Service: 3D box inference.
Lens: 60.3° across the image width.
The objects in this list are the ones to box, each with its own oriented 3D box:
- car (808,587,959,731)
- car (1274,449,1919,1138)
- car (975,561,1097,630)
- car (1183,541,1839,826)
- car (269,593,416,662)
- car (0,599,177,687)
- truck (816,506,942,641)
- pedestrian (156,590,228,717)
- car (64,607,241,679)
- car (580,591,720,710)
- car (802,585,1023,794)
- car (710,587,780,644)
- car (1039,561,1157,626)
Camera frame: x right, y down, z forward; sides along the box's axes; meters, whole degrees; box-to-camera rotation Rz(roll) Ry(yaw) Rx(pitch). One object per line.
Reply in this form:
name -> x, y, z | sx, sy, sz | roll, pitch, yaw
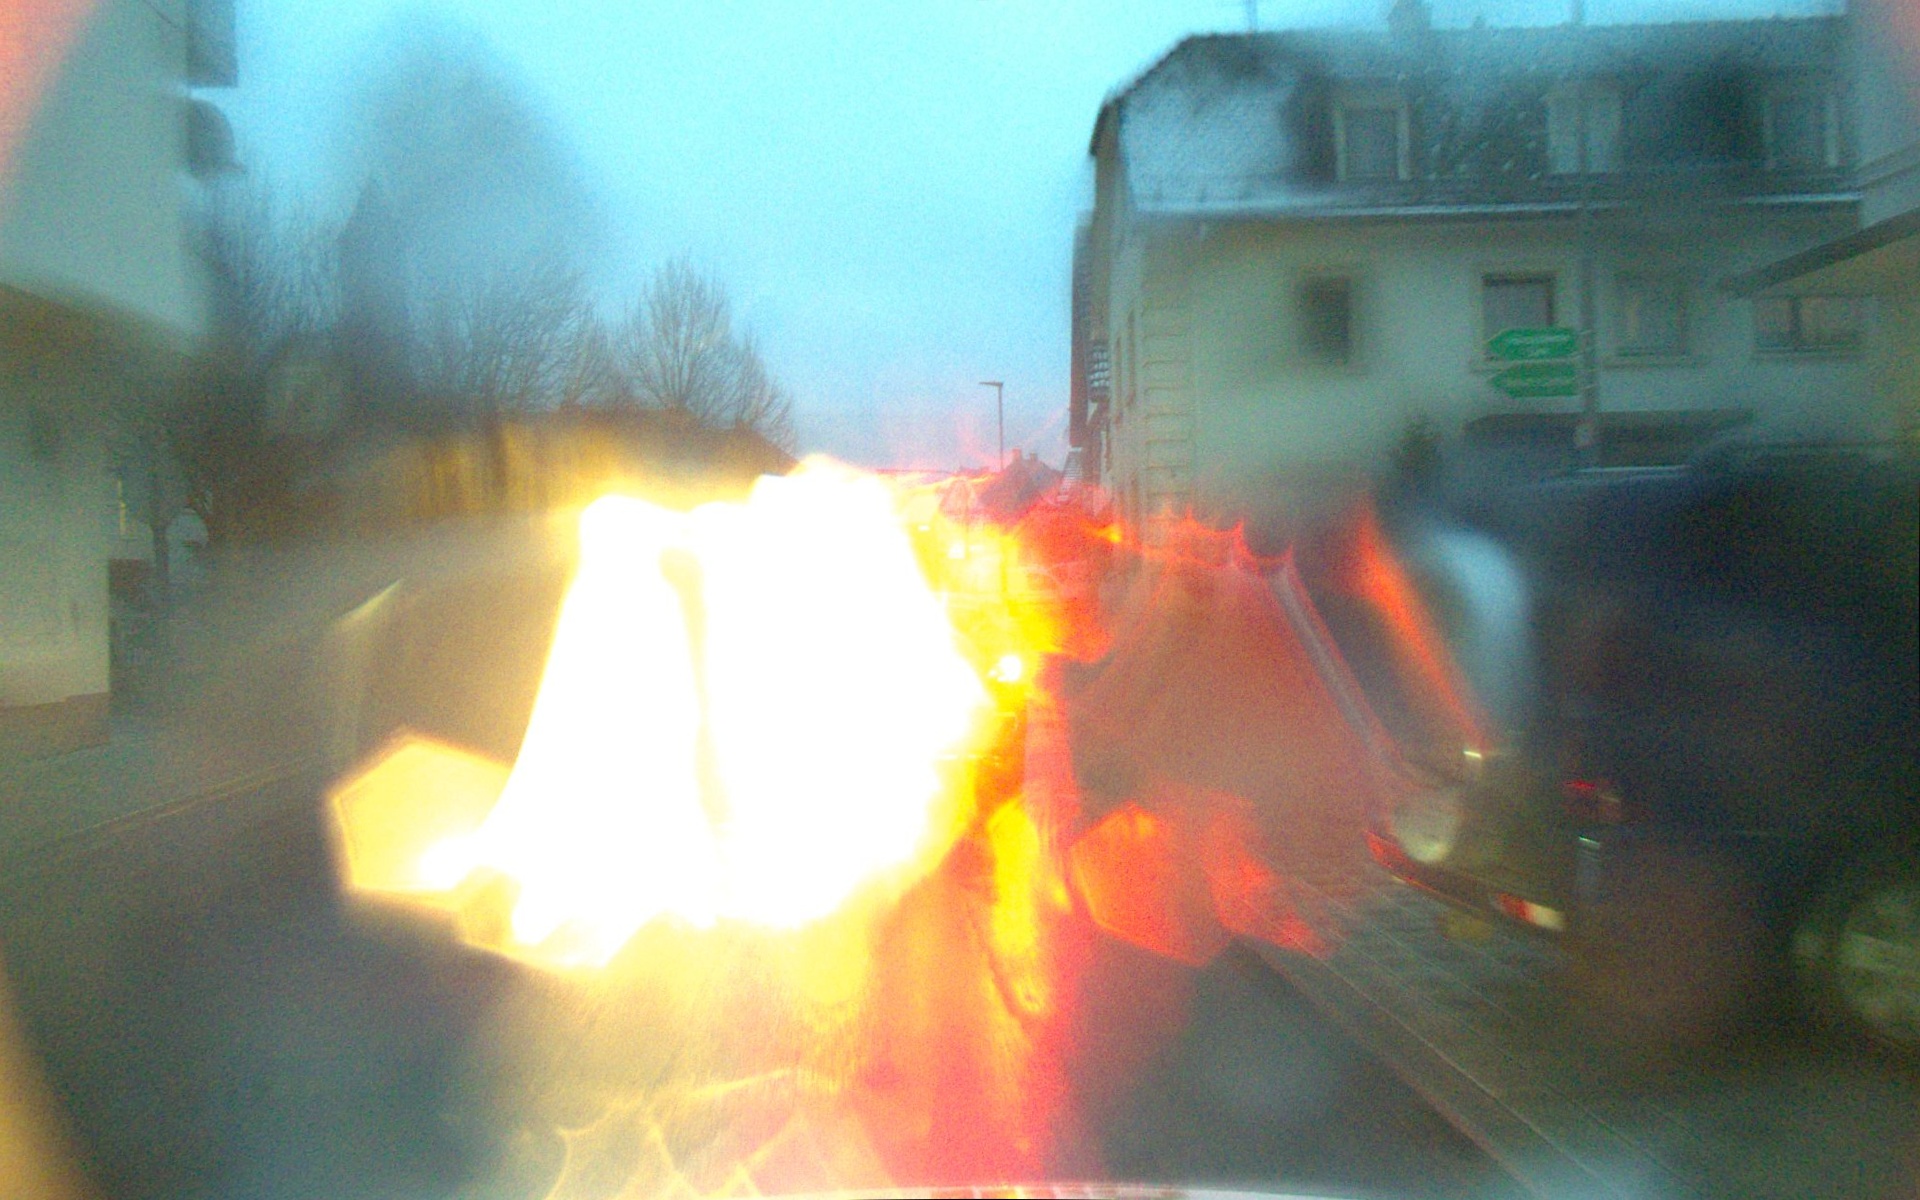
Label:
car -> -0.905, 0.621, 19.313 | 1.605, 1.507, 3.269 | 0, 1, -3
car -> 3.577, 0.440, 5.661 | 4.516, 1.806, 1.942 | -2, 1, -7
car -> 2.570, -0.155, 55.463 | 4.011, 2.200, 1.914 | -1, 1, 4
car -> 3.577, 0.493, 11.067 | 3.797, 1.607, 1.679 | -2, 0, -8
car -> -19.026, 0.836, 50.994 | 3.903, 2.033, 1.820 | -1, 1, 17
car -> -21.193, 1.020, 39.950 | 3.903, 2.023, 1.820 | -1, 1, 17
truck -> -2.254, -0.669, 43.112 | 2.956, 3.183, 7.992 | 0, 0, -5
pedestrian -> -9.274, 0.627, 19.973 | 0.644, 1.484, 0.641 | -1, 1, -39
car -> -20.869, 1.107, 42.764 | 3.903, 1.760, 1.820 | -1, 1, 17
car -> -4.396, 0.668, 23.864 | 1.606, 1.562, 3.403 | -1, 0, -5
car -> -0.416, 0.640, 13.729 | 1.605, 1.507, 3.377 | 0, 0, -3
car -> -6.601, 0.445, 51.198 | 1.775, 1.624, 4.397 | -1, 1, -3
car -> 4.827, -0.243, 57.872 | 4.011, 2.189, 1.914 | -1, 1, 4
